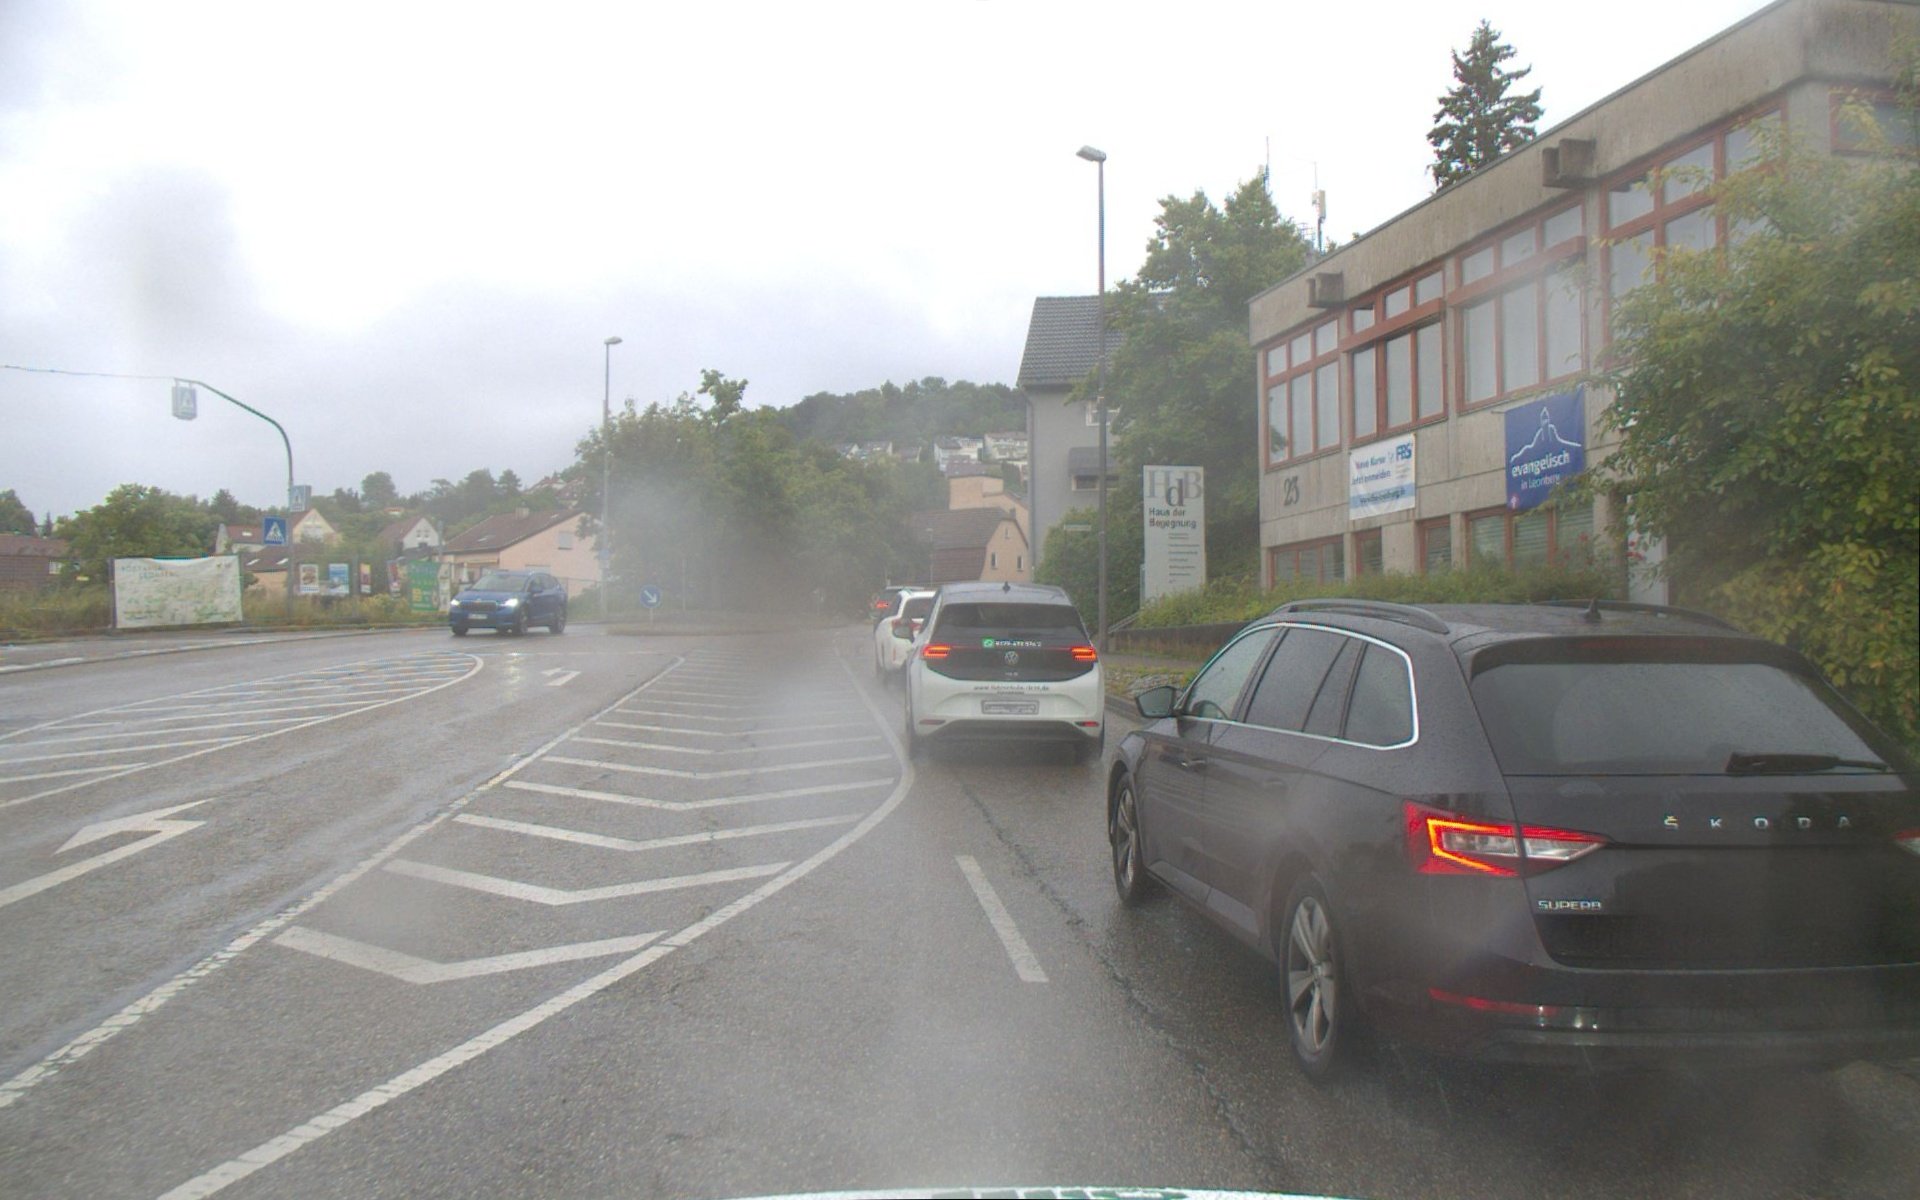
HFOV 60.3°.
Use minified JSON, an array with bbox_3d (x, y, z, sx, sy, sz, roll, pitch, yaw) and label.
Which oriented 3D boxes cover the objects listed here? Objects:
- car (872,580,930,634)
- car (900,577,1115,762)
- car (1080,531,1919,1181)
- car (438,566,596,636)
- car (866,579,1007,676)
[{"bbox_3d":[-1.738,0.170,49.664,1.535,1.557,4.000,0,1,0],"label":"car"},{"bbox_3d":[0.345,0.598,15.869,1.791,1.526,4.167,0,-1,-2],"label":"car"},{"bbox_3d":[1.824,0.654,6.315,1.916,1.534,4.602,2,-1,-6],"label":"car"},{"bbox_3d":[-11.522,0.062,43.369,1.951,1.723,4.708,1,-1,14],"label":"car"},{"bbox_3d":[-0.461,0.426,26.668,1.813,1.434,4.294,0,-1,-7],"label":"car"}]
